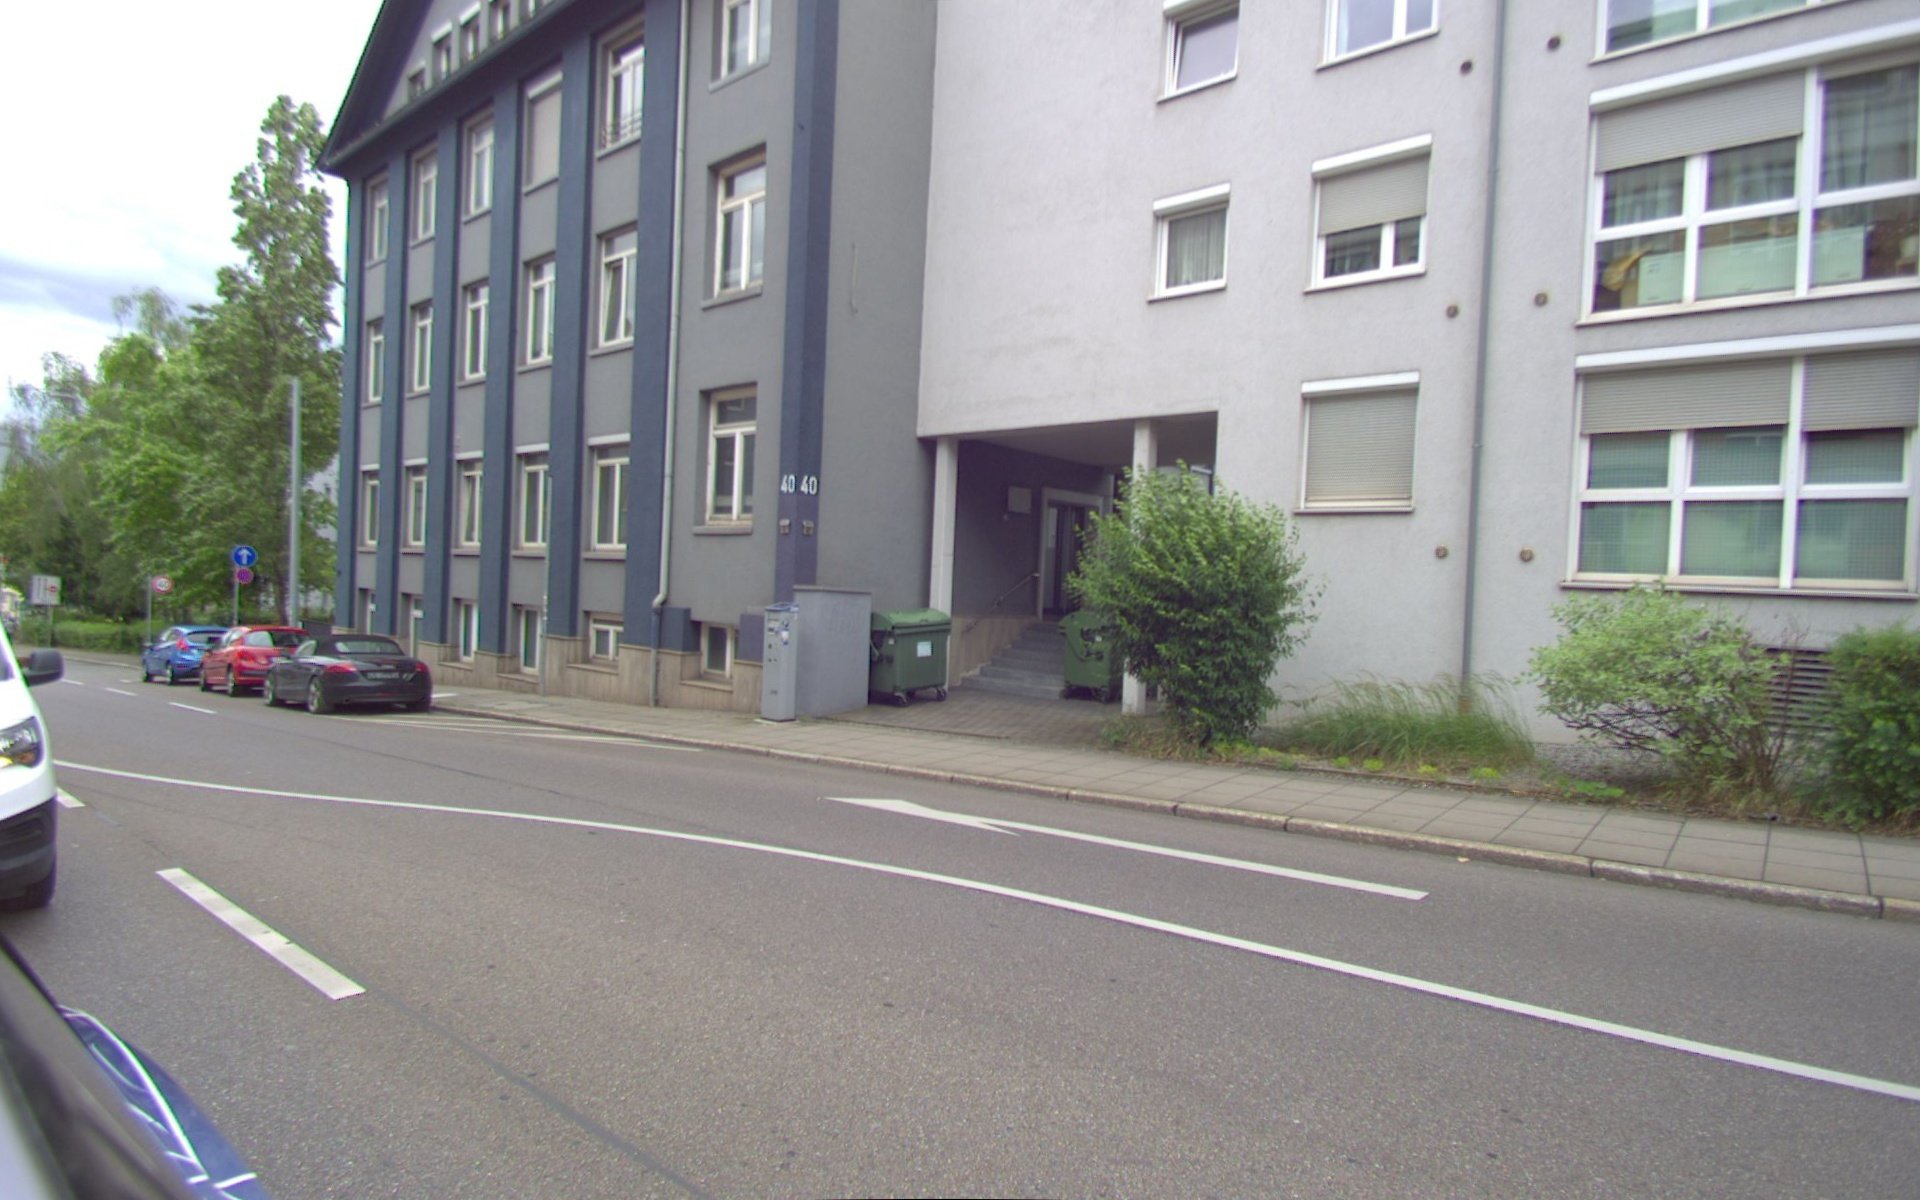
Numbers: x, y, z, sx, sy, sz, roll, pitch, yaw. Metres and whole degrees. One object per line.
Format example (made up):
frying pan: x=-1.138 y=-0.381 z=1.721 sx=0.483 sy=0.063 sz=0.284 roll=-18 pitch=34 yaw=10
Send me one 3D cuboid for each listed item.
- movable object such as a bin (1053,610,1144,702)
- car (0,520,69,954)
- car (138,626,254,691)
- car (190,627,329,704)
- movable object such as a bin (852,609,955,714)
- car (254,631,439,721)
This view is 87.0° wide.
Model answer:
movable object such as a bin: x=2.271 y=0.884 z=16.576 sx=1.078 sy=1.427 sz=1.026 roll=-1 pitch=0 yaw=41
car: x=-6.123 y=0.625 z=5.275 sx=3.998 sy=1.901 sz=1.716 roll=-1 pitch=0 yaw=41
car: x=-19.388 y=1.422 z=25.622 sx=3.727 sy=1.460 sz=1.623 roll=-1 pitch=0 yaw=41
car: x=-15.318 y=1.352 z=22.067 sx=3.727 sy=1.460 sz=1.623 roll=-1 pitch=0 yaw=41
movable object such as a bin: x=-0.866 y=0.915 z=15.705 sx=1.039 sy=1.518 sz=1.213 roll=-1 pitch=0 yaw=41
car: x=-11.027 y=1.279 z=18.109 sx=3.727 sy=1.403 sz=1.778 roll=-1 pitch=-2 yaw=41
